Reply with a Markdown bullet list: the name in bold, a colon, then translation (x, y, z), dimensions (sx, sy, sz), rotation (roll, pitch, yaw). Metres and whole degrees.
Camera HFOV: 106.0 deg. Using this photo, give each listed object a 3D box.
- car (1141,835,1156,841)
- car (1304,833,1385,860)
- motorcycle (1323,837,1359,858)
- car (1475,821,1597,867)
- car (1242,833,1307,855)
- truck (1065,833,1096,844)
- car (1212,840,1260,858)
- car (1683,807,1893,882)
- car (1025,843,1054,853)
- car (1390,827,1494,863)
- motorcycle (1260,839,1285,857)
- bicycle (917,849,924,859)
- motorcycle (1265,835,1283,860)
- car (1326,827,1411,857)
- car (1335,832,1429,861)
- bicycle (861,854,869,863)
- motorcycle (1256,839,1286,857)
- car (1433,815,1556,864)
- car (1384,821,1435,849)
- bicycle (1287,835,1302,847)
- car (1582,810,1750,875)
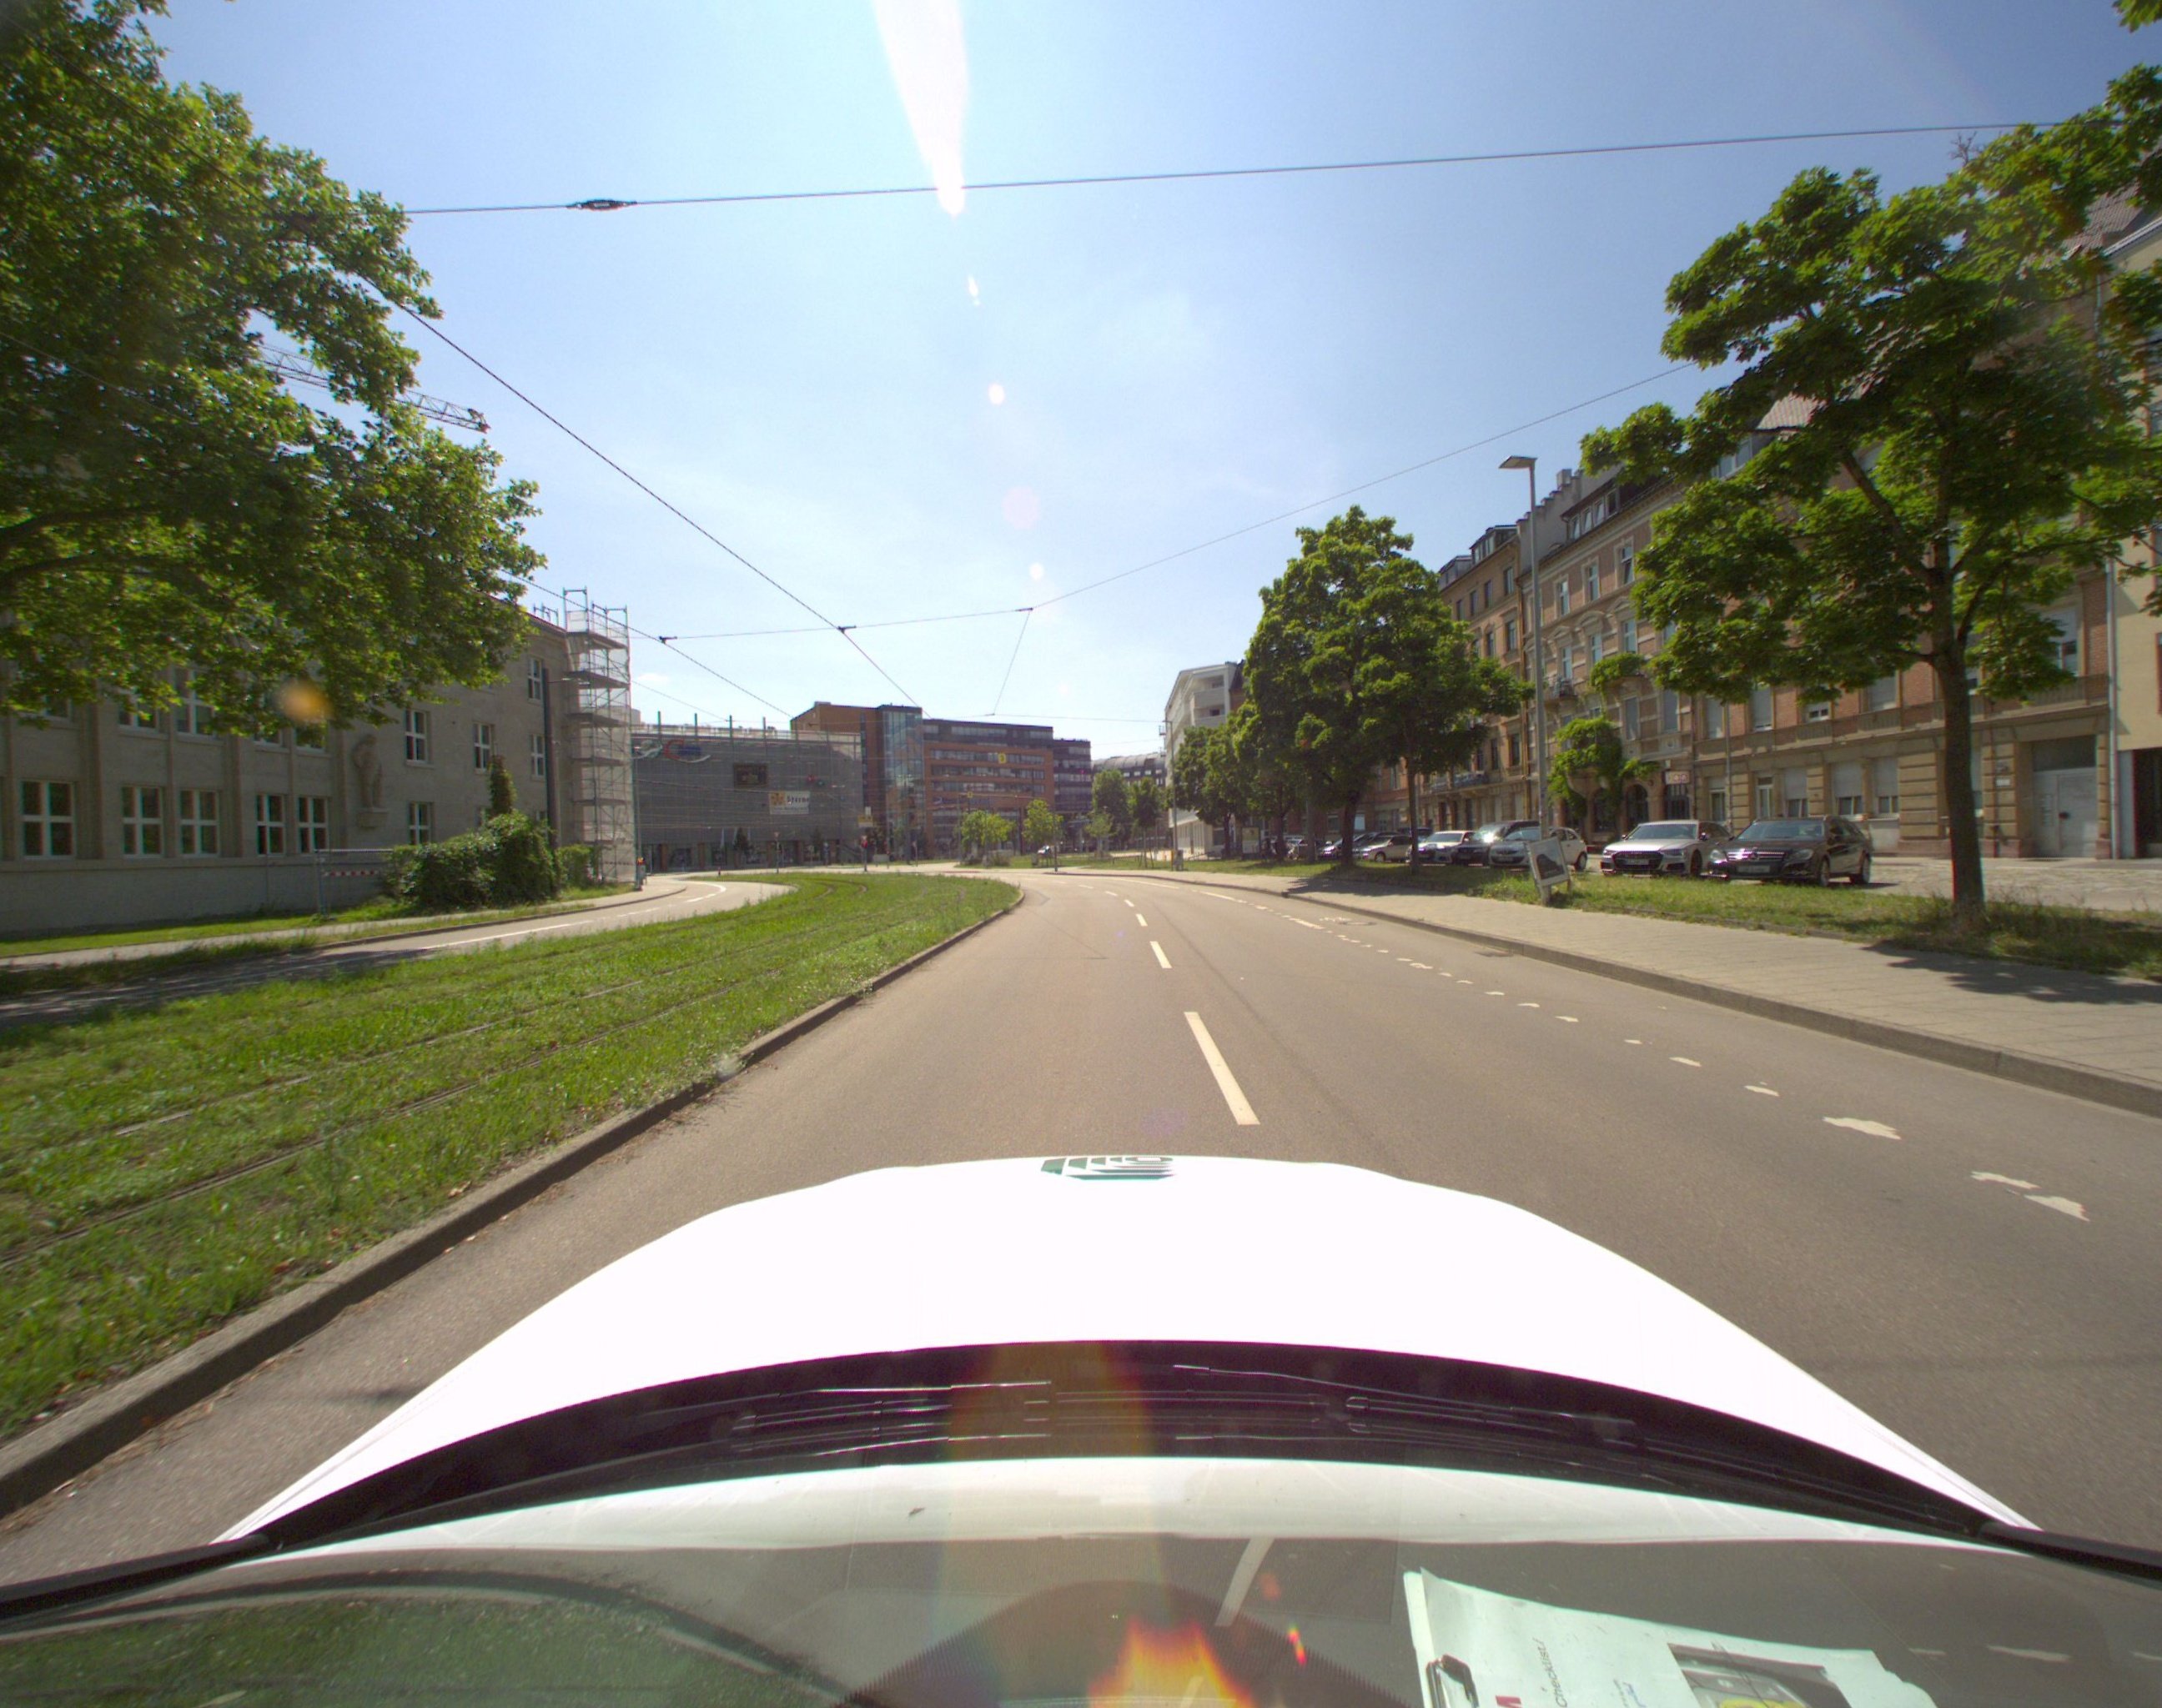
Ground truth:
- **car**: translation (19.683, -4.656, 236.650), dimensions (3.948, 1.728, 1.878), rotation (-1, 0, 32)
- **car**: translation (14.608, -0.444, 45.076), dimensions (4.355, 1.376, 1.570), rotation (-1, 0, -25)
- **motorcycle**: translation (16.141, -0.404, 50.625), dimensions (2.062, 1.236, 0.816), rotation (-2, 0, 17)
- **car**: translation (14.870, -0.338, 26.562), dimensions (4.013, 1.400, 1.696), rotation (-2, 1, -31)
- **car**: translation (15.047, -0.807, 63.409), dimensions (4.884, 1.600, 1.821), rotation (-1, 0, -26)
- **truck**: translation (-0.229, -4.241, 228.678), dimensions (9.120, 2.809, 2.013), rotation (-1, 0, 33)
- **car**: translation (14.617, -0.463, 76.676), dimensions (4.077, 1.624, 1.706), rotation (-1, 0, 31)
- **car**: translation (14.470, -0.218, 16.628), dimensions (4.446, 1.338, 1.953), rotation (-2, 1, -31)
- **car**: translation (-7.966, -1.170, 156.608), dimensions (5.511, 1.668, 1.976), rotation (-2, 1, -42)
- **car**: translation (14.464, -0.369, 32.501), dimensions (4.815, 1.313, 2.123), rotation (-2, 1, -44)
- **motorcycle**: translation (12.515, -0.380, 53.265), dimensions (1.515, 1.120, 0.478), rotation (-1, 0, 1)
- **bicycle**: translation (-30.312, 0.049, 153.943), dimensions (0.488, 1.796, 2.235), rotation (-1, 0, -34)
- **motorcycle**: translation (11.770, -0.403, 49.745), dimensions (0.672, 1.413, 1.858), rotation (-3, 1, 3)
- **car**: translation (14.939, -0.612, 42.295), dimensions (4.100, 1.469, 1.783), rotation (-1, 0, -26)
- **car**: translation (14.581, -0.374, 39.480), dimensions (4.001, 1.313, 1.959), rotation (-1, 0, -21)
- **bicycle**: translation (-38.805, 0.807, 146.088), dimensions (0.603, 1.731, 2.236), rotation (-1, 0, -35)
- **motorcycle**: translation (12.669, -0.398, 54.310), dimensions (1.819, 1.120, 0.527), rotation (-1, 0, -6)
- **car**: translation (15.169, -0.534, 29.848), dimensions (4.006, 1.662, 1.956), rotation (-1, 0, -25)
- **car**: translation (23.632, -1.360, 58.782), dimensions (1.912, 1.903, 4.656), rotation (-1, 1, 2)
- **bicycle**: translation (14.404, -0.858, 54.984), dimensions (0.492, 0.805, 1.465), rotation (-1, 1, 36)
- **car**: translation (14.496, -0.297, 20.096), dimensions (4.713, 1.427, 1.951), rotation (-2, 1, -35)
